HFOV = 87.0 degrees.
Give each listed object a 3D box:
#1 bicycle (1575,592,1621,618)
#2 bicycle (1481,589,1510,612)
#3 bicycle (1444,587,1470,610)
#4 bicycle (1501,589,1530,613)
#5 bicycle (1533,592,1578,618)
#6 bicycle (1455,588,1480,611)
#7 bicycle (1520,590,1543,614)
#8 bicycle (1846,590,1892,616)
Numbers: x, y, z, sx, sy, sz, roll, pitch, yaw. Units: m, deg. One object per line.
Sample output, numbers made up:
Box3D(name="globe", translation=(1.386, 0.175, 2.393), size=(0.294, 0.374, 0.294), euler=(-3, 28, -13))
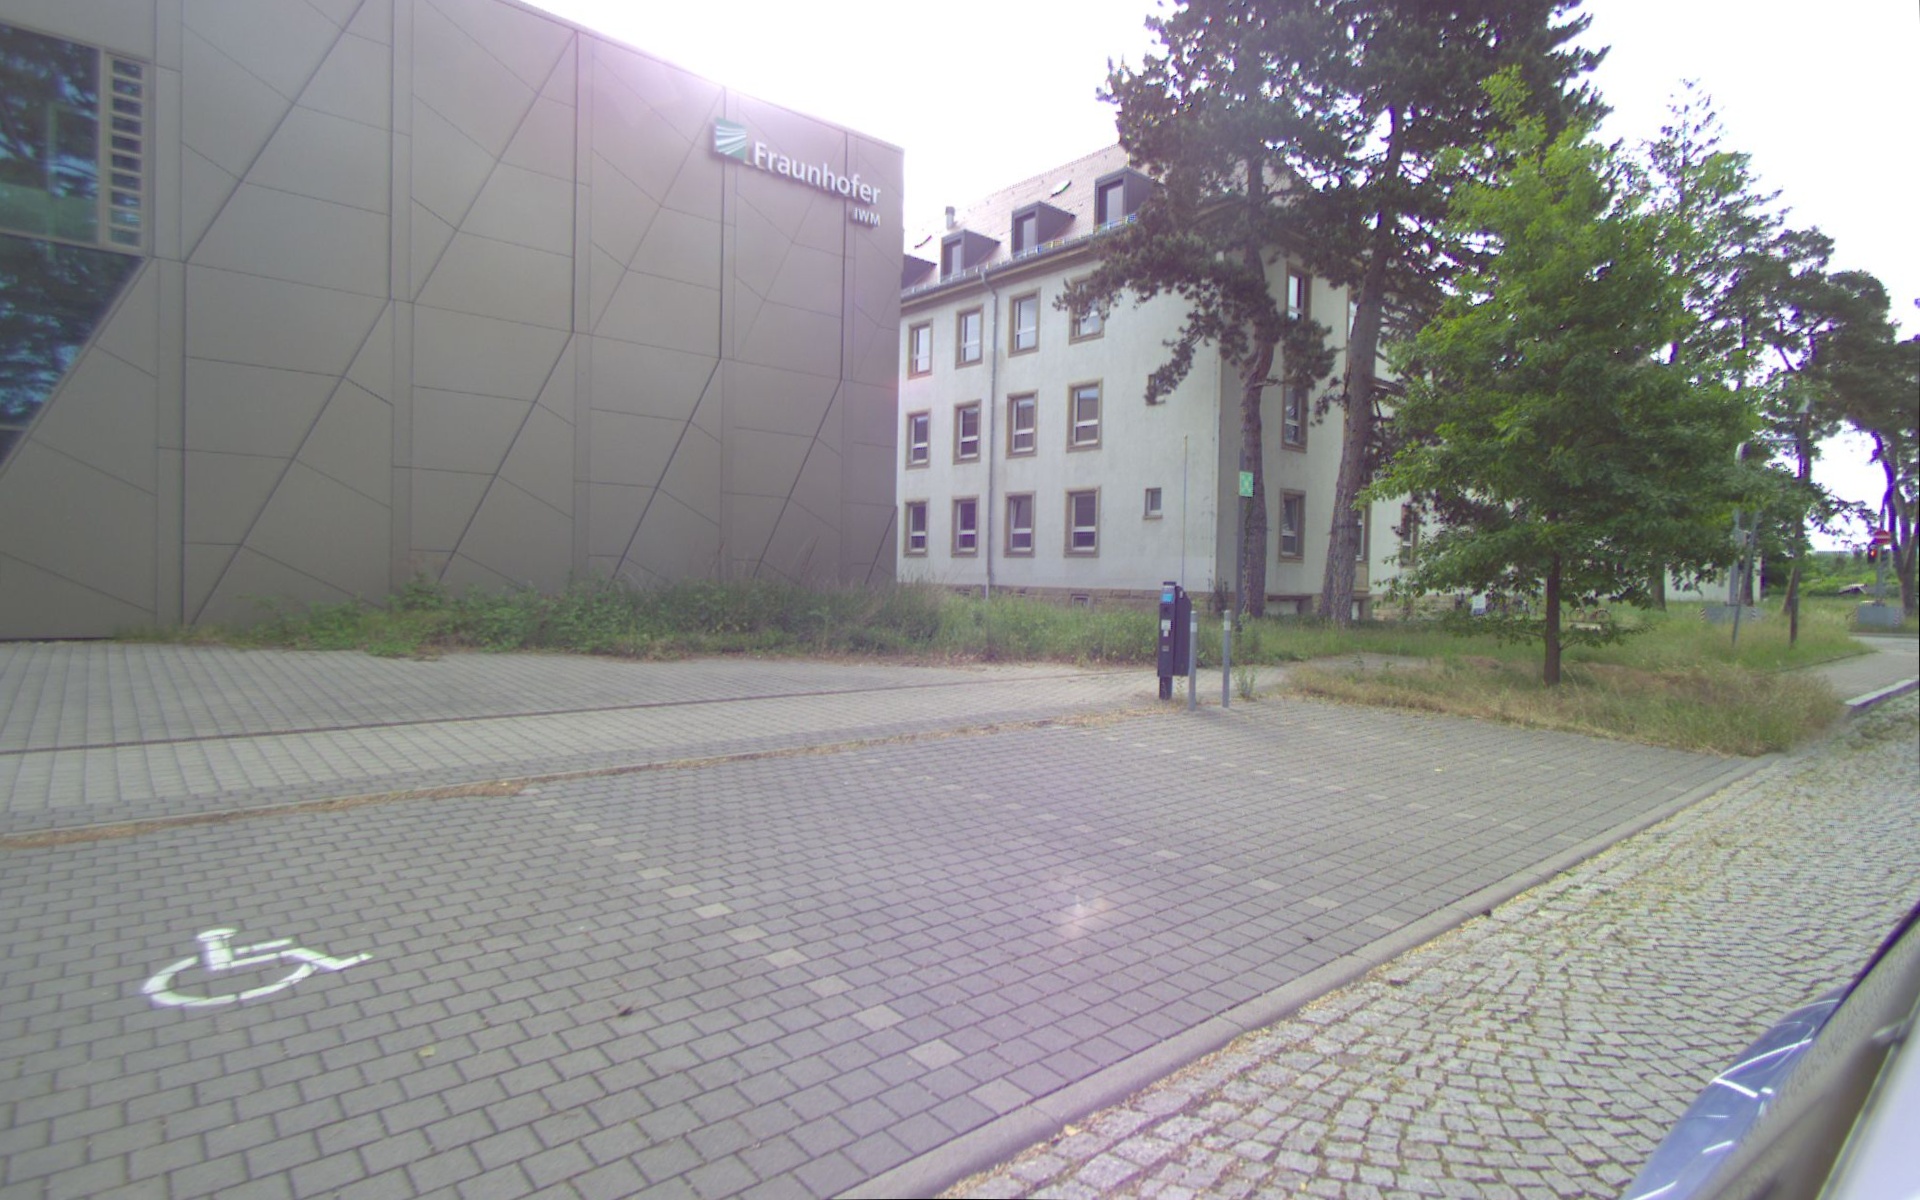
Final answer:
Box3D(name="bicycle", translation=(28.570, 0.218, 45.319), size=(0.604, 1.099, 1.653), euler=(0, 1, -44))
Box3D(name="bicycle", translation=(26.396, 0.025, 49.889), size=(1.697, 1.142, 0.448), euler=(0, 1, -33))
Box3D(name="bicycle", translation=(25.206, -0.070, 51.305), size=(1.699, 1.142, 0.448), euler=(0, 1, -38))
Box3D(name="bicycle", translation=(26.962, 0.052, 49.095), size=(1.670, 1.142, 0.477), euler=(0, 1, -33))
Box3D(name="bicycle", translation=(27.359, 0.224, 46.515), size=(0.603, 1.099, 1.655), euler=(0, 1, -39))
Box3D(name="bicycle", translation=(25.522, -0.044, 50.904), size=(1.699, 1.142, 0.448), euler=(0, 1, -38))
Box3D(name="bicycle", translation=(27.539, 0.083, 48.775), size=(1.628, 1.142, 0.476), euler=(0, 1, -43))
Box3D(name="bicycle", translation=(39.764, 0.146, 44.273), size=(1.622, 1.099, 0.616), euler=(1, 1, -9))
